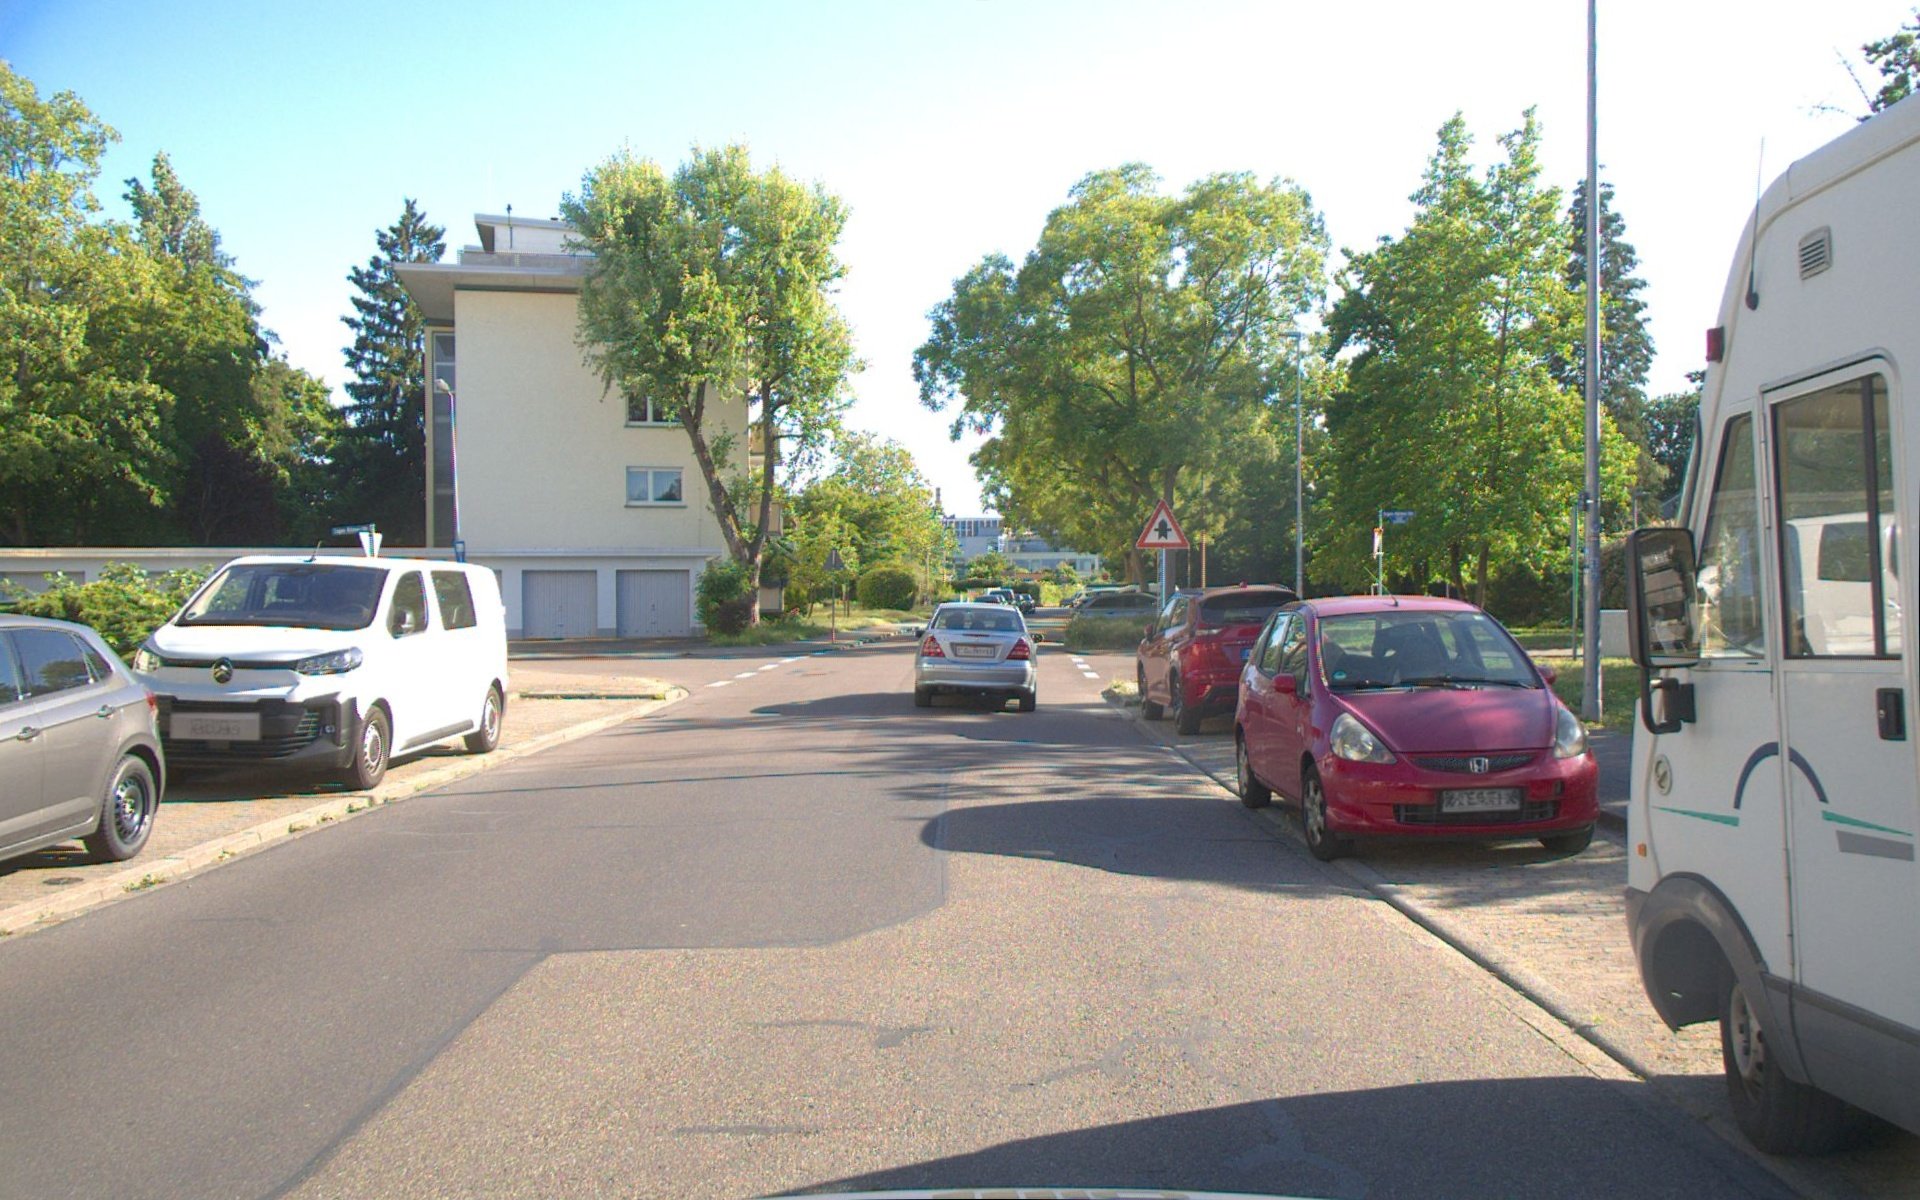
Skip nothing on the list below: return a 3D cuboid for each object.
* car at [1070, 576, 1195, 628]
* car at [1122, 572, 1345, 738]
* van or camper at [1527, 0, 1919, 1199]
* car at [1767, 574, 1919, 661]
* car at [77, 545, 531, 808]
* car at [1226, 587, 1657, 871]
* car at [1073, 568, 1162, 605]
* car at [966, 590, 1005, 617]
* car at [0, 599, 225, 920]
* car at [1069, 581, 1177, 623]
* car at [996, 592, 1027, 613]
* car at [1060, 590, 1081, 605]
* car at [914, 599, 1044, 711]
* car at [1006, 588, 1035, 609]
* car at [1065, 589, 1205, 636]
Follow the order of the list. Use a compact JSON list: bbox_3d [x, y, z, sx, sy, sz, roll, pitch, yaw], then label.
[{"bbox_3d":[7.007,0.074,67.439,4.787,1.957,1.999,-1,0,-3],"label":"car"},{"bbox_3d":[3.222,0.580,20.386,1.739,1.709,4.643,-3,0,-2],"label":"car"},{"bbox_3d":[3.305,-0.101,2.367,2.446,2.895,6.849,-1,1,-1],"label":"van or camper"},{"bbox_3d":[17.775,0.329,32.759,2.891,1.590,1.703,0,3,13],"label":"car"},{"bbox_3d":[-5.556,0.566,14.913,1.973,1.918,5.191,1,0,0],"label":"car"},{"bbox_3d":[2.921,0.680,10.925,1.657,1.500,4.000,-1,0,0],"label":"car"},{"bbox_3d":[9.273,-0.780,97.420,5.106,2.095,2.002,-1,0,6],"label":"car"},{"bbox_3d":[1.584,0.199,100.280,1.872,1.516,3.840,-3,0,7],"label":"car"},{"bbox_3d":[-5.600,0.782,8.416,1.795,1.544,4.221,1,0,0],"label":"car"},{"bbox_3d":[7.373,0.094,74.882,4.781,1.753,2.001,-2,0,5],"label":"car"},{"bbox_3d":[3.707,0.157,118.963,1.713,1.353,3.453,-3,0,10],"label":"car"},{"bbox_3d":[11.717,-0.244,175.049,1.853,1.529,3.660,0,0,10],"label":"car"},{"bbox_3d":[0.257,0.730,23.253,1.697,1.459,3.438,0,0,0],"label":"car"},{"bbox_3d":[4.621,-0.109,125.335,1.713,1.547,4.197,-2,0,8],"label":"car"},{"bbox_3d":[6.035,0.419,57.385,4.683,1.576,2.012,-1,0,2],"label":"car"}]
